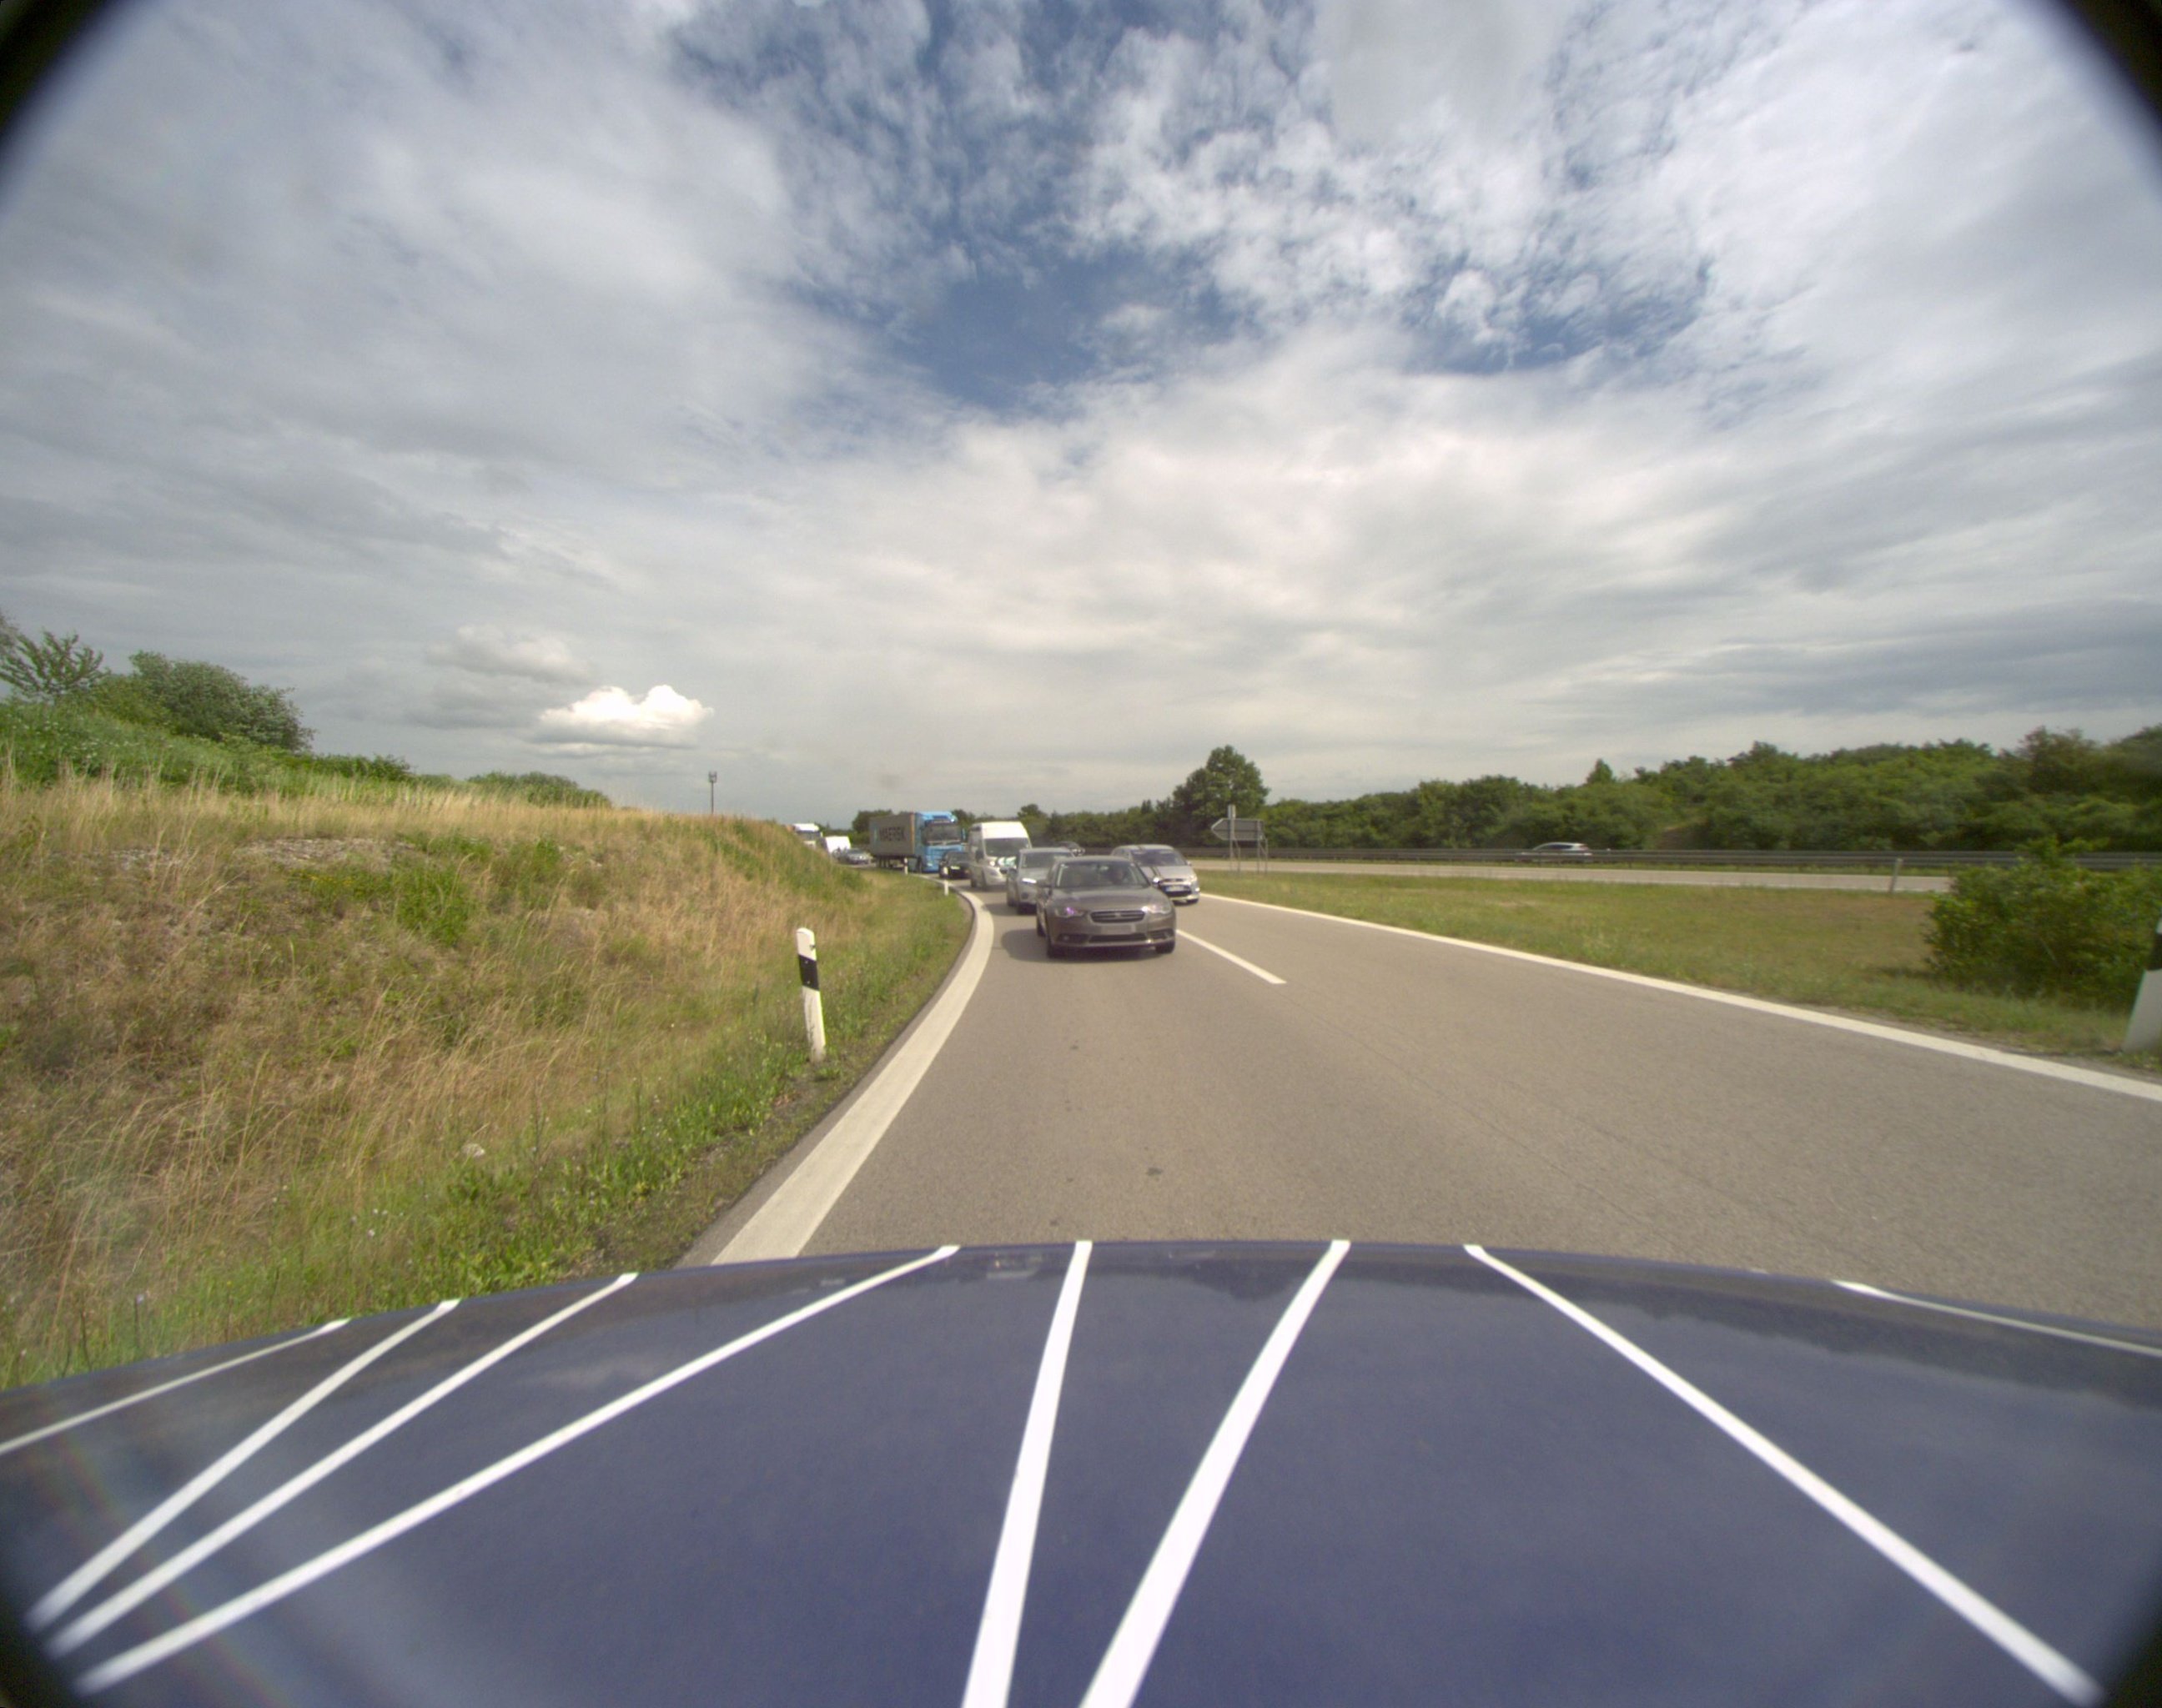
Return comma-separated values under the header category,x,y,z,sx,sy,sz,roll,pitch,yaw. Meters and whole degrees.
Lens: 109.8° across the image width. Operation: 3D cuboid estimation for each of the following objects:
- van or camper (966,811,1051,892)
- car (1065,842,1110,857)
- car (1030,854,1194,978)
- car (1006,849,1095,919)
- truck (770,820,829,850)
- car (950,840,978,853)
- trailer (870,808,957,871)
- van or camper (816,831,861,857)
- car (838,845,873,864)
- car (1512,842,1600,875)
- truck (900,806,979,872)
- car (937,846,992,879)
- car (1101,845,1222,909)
category,x,y,z,sx,sy,sz,roll,pitch,yaw
van or camper,-3.063,-0.122,30.575,2.400,2.892,5.712,-2,1,-15
car,0.495,-0.399,64.750,2.004,1.164,3.680,-1,1,-37
car,0.271,0.804,12.227,1.999,1.506,4.535,-2,1,-5
car,-0.916,0.695,19.978,1.844,1.587,4.169,-1,1,-9
truck,-32.161,-2.091,86.398,3.131,3.220,11.129,-2,2,-37
car,-15.369,-1.023,99.689,2.004,1.674,3.988,-1,2,-39
trailer,-12.669,-0.993,56.411,3.280,4.137,11.991,-3,1,-27
van or camper,-23.373,-1.034,73.049,2.557,2.200,5.692,-3,5,-34
car,-20.167,-0.013,67.818,2.003,1.521,3.989,-2,3,-32
car,29.285,0.273,46.923,1.847,1.862,4.195,-3,1,-37
truck,-9.476,-0.961,50.251,3.184,4.050,6.632,-3,1,-27
car,-6.201,0.398,40.080,2.002,1.609,3.992,-1,2,-22
car,2.136,0.559,21.581,2.028,1.568,4.580,-1,1,-13
